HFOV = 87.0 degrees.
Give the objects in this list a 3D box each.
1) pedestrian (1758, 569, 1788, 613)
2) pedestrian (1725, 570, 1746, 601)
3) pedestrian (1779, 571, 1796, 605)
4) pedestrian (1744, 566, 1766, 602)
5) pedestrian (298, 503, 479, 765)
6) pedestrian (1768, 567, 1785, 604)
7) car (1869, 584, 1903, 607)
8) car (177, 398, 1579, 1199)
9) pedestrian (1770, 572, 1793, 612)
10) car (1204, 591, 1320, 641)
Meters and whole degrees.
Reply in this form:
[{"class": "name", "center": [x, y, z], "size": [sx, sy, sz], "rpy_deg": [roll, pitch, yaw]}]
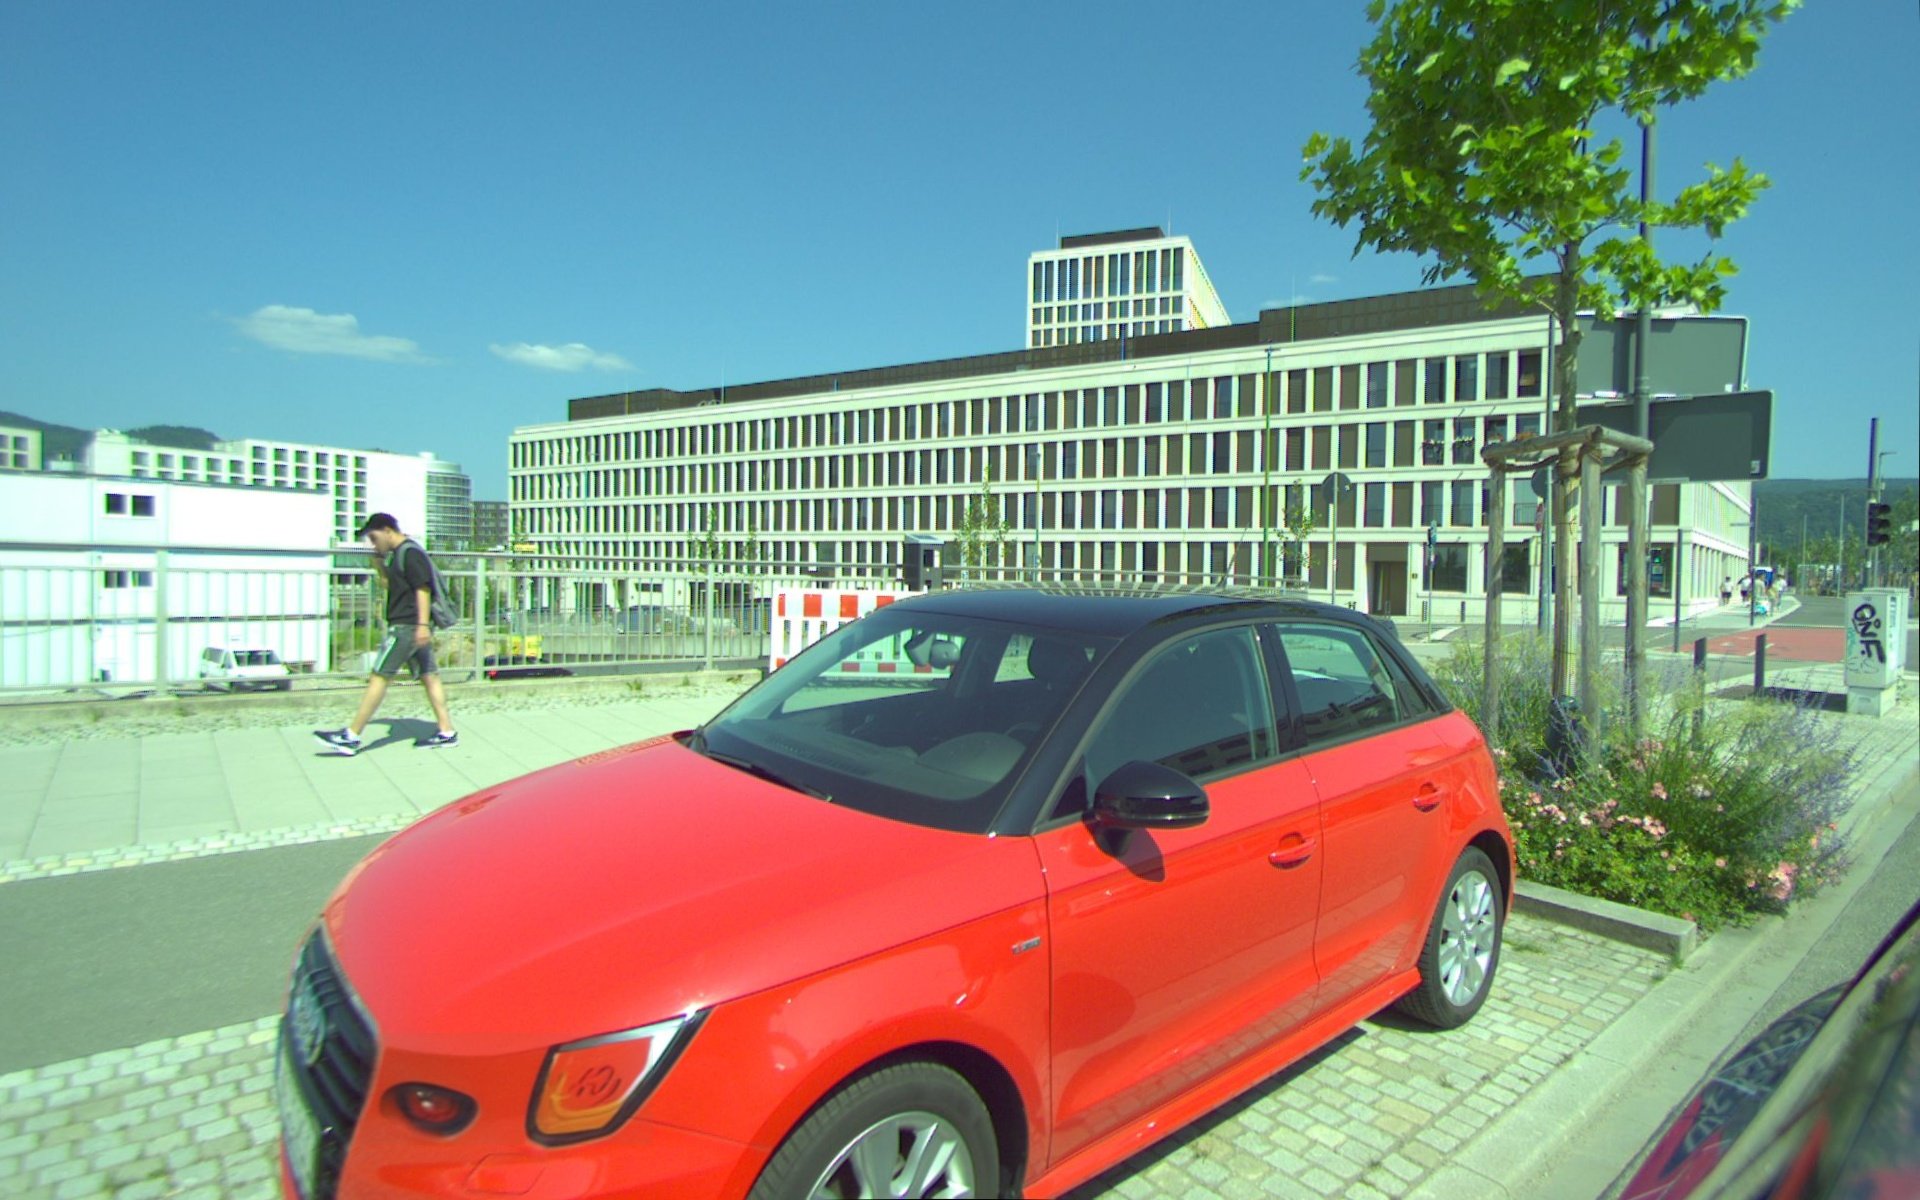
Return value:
[{"class": "pedestrian", "center": [35.213, -0.382, 43.846], "size": [0.877, 1.849, 1.639], "rpy_deg": [-1, 0, 43]}, {"class": "pedestrian", "center": [40.730, -0.764, 53.149], "size": [0.768, 1.585, 0.830], "rpy_deg": [2, 3, 42]}, {"class": "pedestrian", "center": [42.721, -0.625, 52.237], "size": [0.576, 1.740, 0.982], "rpy_deg": [3, 3, 41]}, {"class": "pedestrian", "center": [41.413, -0.849, 52.703], "size": [0.824, 1.805, 0.913], "rpy_deg": [2, 3, 42]}, {"class": "pedestrian", "center": [-3.871, 0.184, 6.856], "size": [0.932, 1.628, 0.752], "rpy_deg": [0, 4, -40]}, {"class": "pedestrian", "center": [41.550, -0.737, 51.502], "size": [0.576, 1.763, 0.981], "rpy_deg": [1, -4, 42]}, {"class": "car", "center": [70.555, -0.351, 77.163], "size": [1.804, 1.526, 3.943], "rpy_deg": [-1, 3, 41]}, {"class": "car", "center": [0.087, 0.532, 3.142], "size": [3.929, 1.538, 1.998], "rpy_deg": [0, 1, -40]}, {"class": "pedestrian", "center": [36.002, -0.335, 44.355], "size": [0.700, 1.745, 0.784], "rpy_deg": [-1, -1, 43]}, {"class": "car", "center": [9.862, 0.506, 33.188], "size": [3.302, 1.482, 1.460], "rpy_deg": [-1, 1, -4]}]
